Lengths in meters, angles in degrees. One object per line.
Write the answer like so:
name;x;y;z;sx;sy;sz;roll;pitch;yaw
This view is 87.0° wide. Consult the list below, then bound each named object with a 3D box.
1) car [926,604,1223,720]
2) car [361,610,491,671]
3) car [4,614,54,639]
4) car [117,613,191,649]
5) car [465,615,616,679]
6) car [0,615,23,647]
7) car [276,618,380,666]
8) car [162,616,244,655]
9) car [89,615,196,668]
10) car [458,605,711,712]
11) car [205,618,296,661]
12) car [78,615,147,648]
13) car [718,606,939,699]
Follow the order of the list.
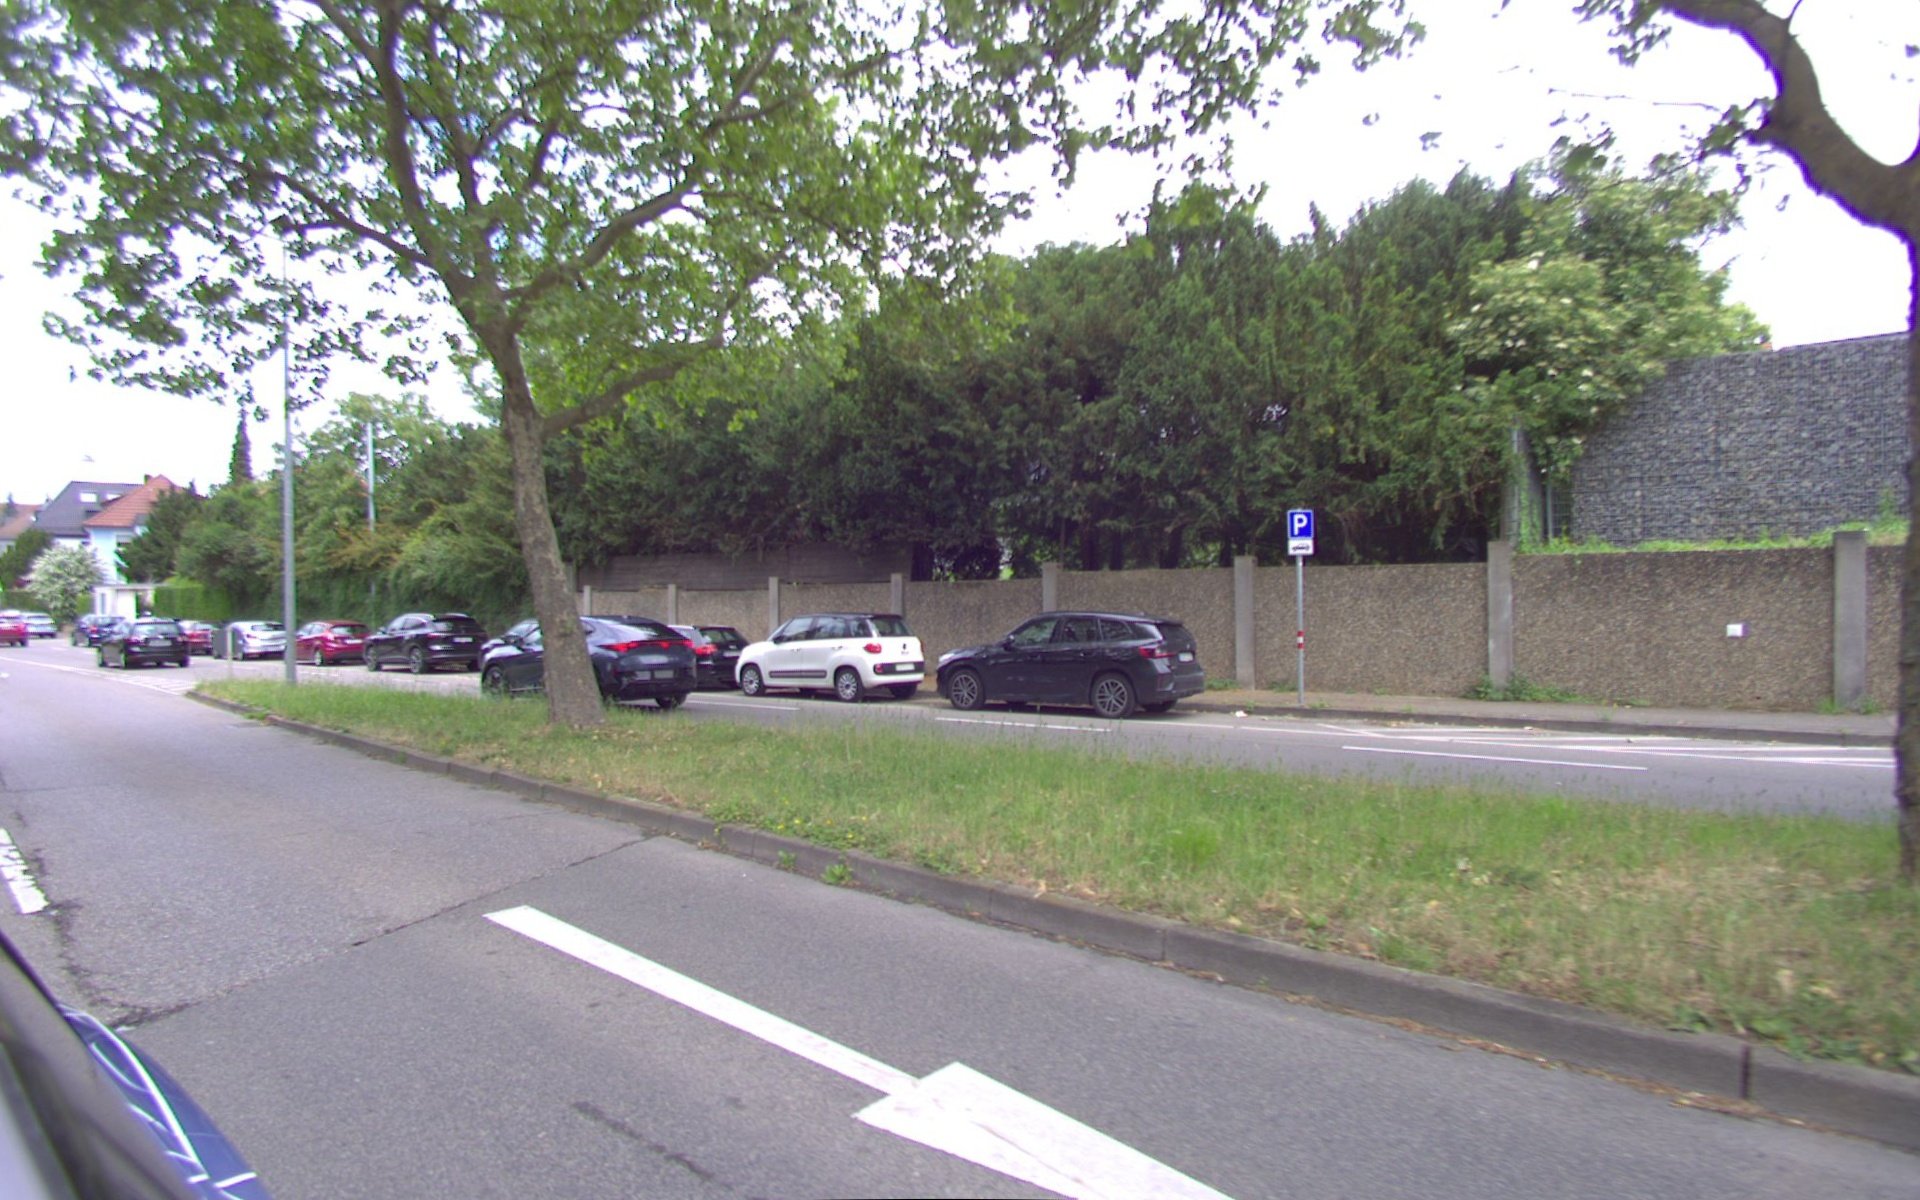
car;1.759;0.928;16.246;4.450;1.628;1.776;-1;-2;34
car;-15.428;1.135;29.177;4.032;1.616;1.775;-1;0;37
car;-53.665;1.541;58.319;3.829;1.339;1.664;-1;0;41
car;-35.826;1.376;44.959;3.825;1.516;1.666;-1;-2;37
car;-10.782;1.176;25.926;4.031;1.516;1.775;-1;-2;37
car;-46.789;1.483;48.819;3.825;1.516;1.666;-1;-2;37
car;-21.065;1.367;33.678;3.825;1.516;1.666;-1;-2;37
car;-30.881;1.431;41.269;3.825;1.516;1.666;-1;-2;37
car;-26.529;1.325;32.827;3.907;1.628;1.821;-1;-2;37
car;-6.547;0.957;17.466;4.575;1.628;1.776;-1;-2;34
car;-26.535;1.452;37.805;3.825;1.516;1.666;-1;-2;37
car;-40.088;1.499;47.866;3.825;1.516;1.666;-1;-2;37
car;-2.616;0.975;19.694;4.208;1.628;1.776;-1;-2;35
